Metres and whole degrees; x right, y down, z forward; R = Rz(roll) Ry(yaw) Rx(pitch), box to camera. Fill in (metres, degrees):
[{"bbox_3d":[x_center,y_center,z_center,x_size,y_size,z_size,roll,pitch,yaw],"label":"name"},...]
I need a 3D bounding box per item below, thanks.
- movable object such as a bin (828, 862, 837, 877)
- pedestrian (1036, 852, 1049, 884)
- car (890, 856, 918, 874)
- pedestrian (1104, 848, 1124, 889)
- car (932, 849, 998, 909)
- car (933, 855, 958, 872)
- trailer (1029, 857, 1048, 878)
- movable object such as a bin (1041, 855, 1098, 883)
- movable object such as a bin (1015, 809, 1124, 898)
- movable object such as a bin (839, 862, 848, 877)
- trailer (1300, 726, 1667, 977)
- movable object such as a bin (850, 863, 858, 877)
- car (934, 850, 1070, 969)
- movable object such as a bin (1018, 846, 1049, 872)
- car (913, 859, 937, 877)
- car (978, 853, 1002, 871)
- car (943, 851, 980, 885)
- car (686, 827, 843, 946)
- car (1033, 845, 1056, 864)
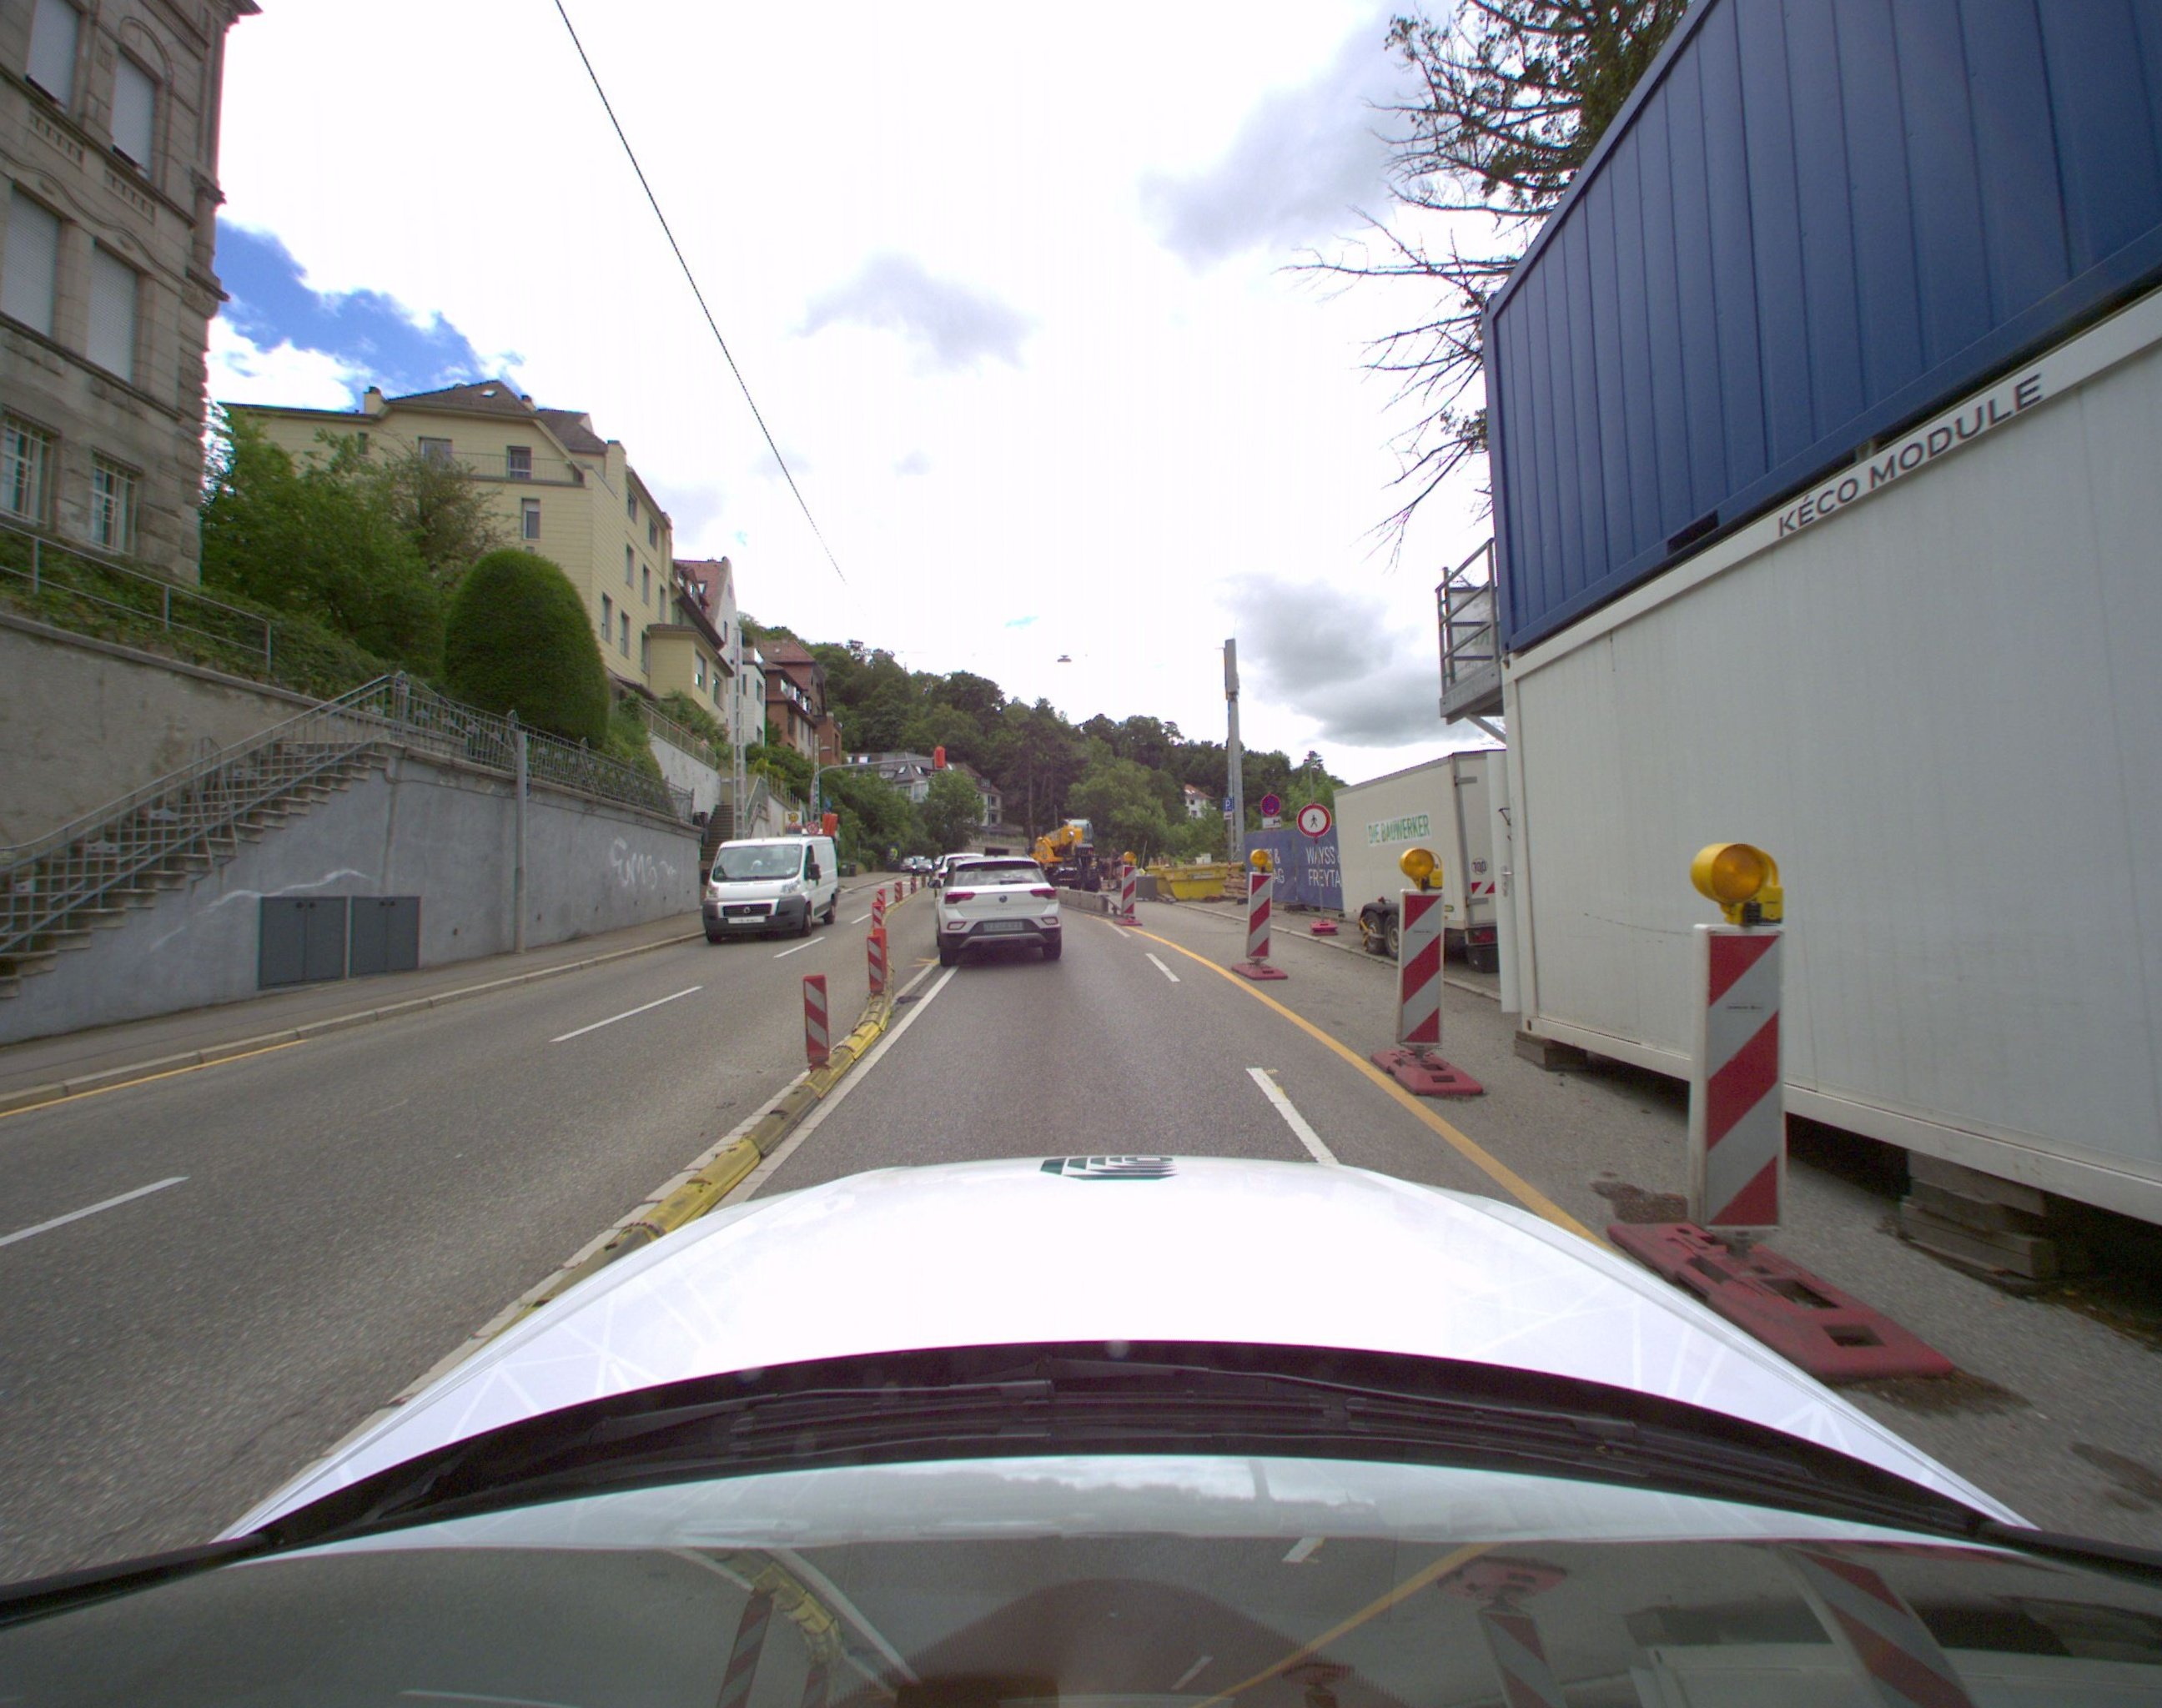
[{"bbox_3d":[-17.258,1.064,56.501,0.467,1.053,0.622,1,0,-9],"label":"movable object such as a bin"},{"bbox_3d":[-2.096,0.754,44.642,0.645,1.701,0.848,0,0,-8],"label":"pedestrian"},{"bbox_3d":[-16.158,0.989,74.542,1.790,1.510,3.996,1,0,-3],"label":"car"},{"bbox_3d":[1.462,0.618,36.205,0.691,1.795,0.536,-1,0,-21],"label":"pedestrian"},{"bbox_3d":[-3.769,0.737,25.859,1.811,1.663,3.984,-2,0,-11],"label":"car"},{"bbox_3d":[-13.397,0.898,80.457,1.837,1.599,4.260,-1,0,-2],"label":"car"},{"bbox_3d":[-3.130,0.967,60.672,1.285,1.475,3.631,-1,0,-2],"label":"trailer"},{"bbox_3d":[-0.815,0.852,49.863,2.374,1.561,7.074,-1,0,-10],"label":"movable object such as a bin"},{"bbox_3d":[-0.695,-0.029,32.277,2.814,3.071,7.790,0,0,-12],"label":"movable object such as a bin"},{"bbox_3d":[-16.525,1.059,56.622,0.467,1.053,0.622,1,0,-9],"label":"movable object such as a bin"},{"bbox_3d":[4.981,-0.033,11.202,2.103,2.549,5.110,-3,0,-5],"label":"trailer"},{"bbox_3d":[-15.834,1.122,56.718,0.467,0.934,0.622,1,0,-9],"label":"movable object such as a bin"},{"bbox_3d":[-1.423,0.761,13.114,1.810,1.531,3.985,-2,0,-10],"label":"car"},{"bbox_3d":[-4.919,0.494,85.053,2.199,2.663,4.957,-1,0,9],"label":"movable object such as a bin"},{"bbox_3d":[-12.767,1.114,66.653,1.671,1.430,3.577,-2,0,-8],"label":"car"},{"bbox_3d":[-9.332,0.792,83.681,1.803,1.663,4.002,-2,0,2],"label":"car"},{"bbox_3d":[-6.481,0.739,44.035,1.809,1.663,3.987,-2,0,-9],"label":"car"},{"bbox_3d":[-6.897,0.621,18.408,2.066,2.187,4.949,-3,0,-7],"label":"car"},{"bbox_3d":[-3.206,0.045,70.479,1.791,1.510,3.993,-2,0,-5],"label":"car"}]
